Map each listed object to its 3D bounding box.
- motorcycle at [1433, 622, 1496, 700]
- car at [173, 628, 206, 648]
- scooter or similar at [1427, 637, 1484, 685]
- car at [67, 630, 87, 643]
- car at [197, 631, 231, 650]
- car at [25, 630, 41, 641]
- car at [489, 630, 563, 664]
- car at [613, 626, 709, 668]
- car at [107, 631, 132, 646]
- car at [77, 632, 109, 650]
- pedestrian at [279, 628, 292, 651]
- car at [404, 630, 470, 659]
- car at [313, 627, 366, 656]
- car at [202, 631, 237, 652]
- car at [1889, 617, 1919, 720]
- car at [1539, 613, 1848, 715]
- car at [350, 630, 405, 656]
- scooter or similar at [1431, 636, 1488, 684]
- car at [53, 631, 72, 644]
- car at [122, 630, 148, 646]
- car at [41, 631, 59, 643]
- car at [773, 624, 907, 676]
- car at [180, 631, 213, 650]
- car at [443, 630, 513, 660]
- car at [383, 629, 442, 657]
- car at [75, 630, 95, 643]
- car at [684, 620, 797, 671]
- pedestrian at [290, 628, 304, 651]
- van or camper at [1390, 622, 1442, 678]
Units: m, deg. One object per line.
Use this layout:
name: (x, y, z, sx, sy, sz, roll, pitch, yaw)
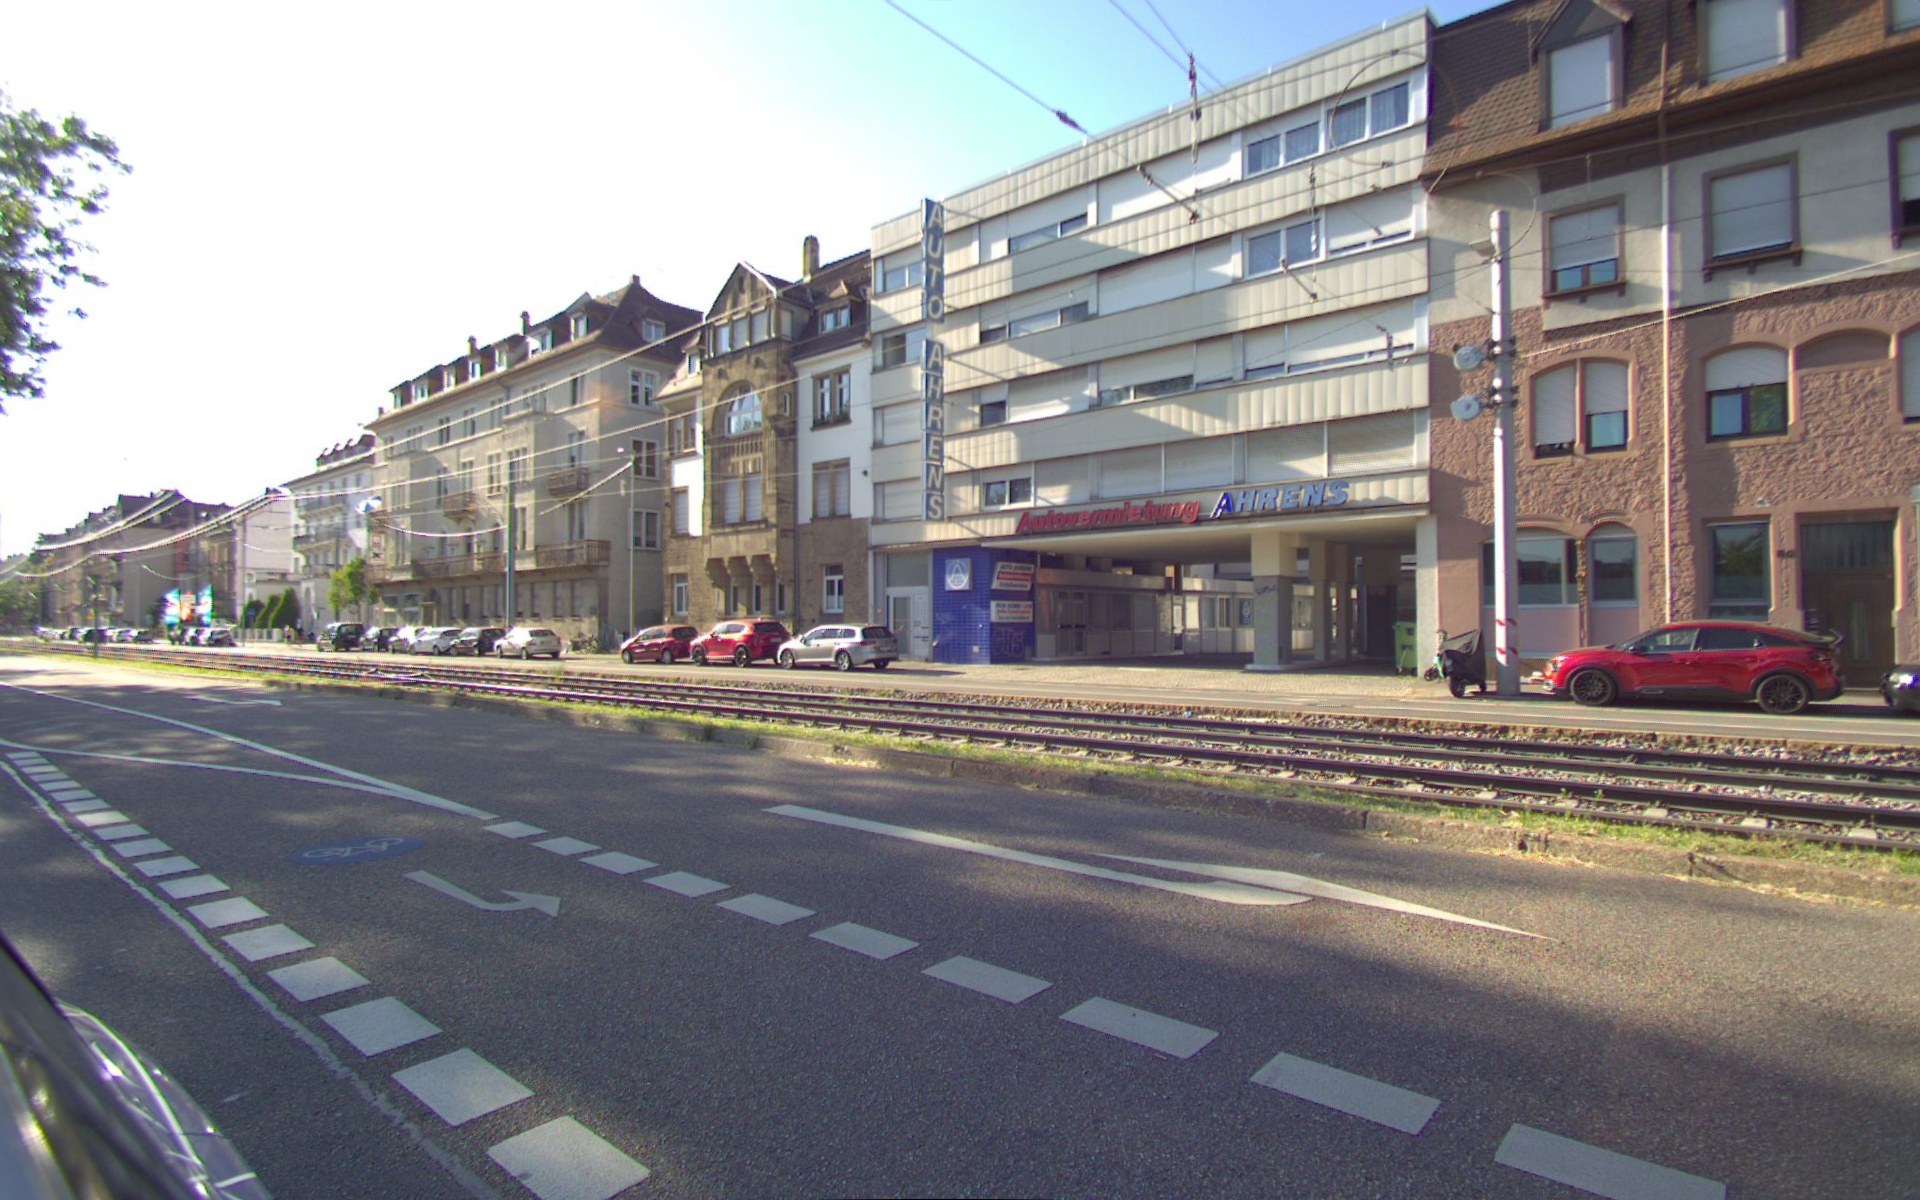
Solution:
motorcycle: (10.154, 1.192, 20.335, 0.628, 1.433, 1.835, -3, -1, 41)
car: (-71.178, 3.497, 93.430, 3.879, 1.800, 1.705, -2, -1, 42)
scooter or similar: (11.266, 1.380, 23.018, 1.121, 1.077, 0.202, -2, -1, 42)
car: (-119.124, 4.912, 136.530, 3.449, 1.602, 1.603, -2, -1, 42)
car: (-63.591, 3.451, 86.260, 3.387, 1.583, 1.662, -2, -1, 42)
car: (-152.844, 5.847, 166.793, 3.449, 1.602, 1.603, -2, -1, 42)
car: (-20.577, 2.189, 47.888, 3.822, 1.490, 1.778, -2, -1, 42)
car: (-11.827, 1.844, 39.986, 3.722, 1.507, 1.736, -2, 0, 36)
car: (-93.630, 4.297, 112.706, 3.449, 1.602, 1.603, -2, -1, 42)
car: (-83.607, 3.924, 97.594, 3.999, 1.697, 1.798, -2, -2, 42)
pedestrian: (-53.669, 3.165, 80.540, 0.677, 1.803, 0.716, -2, -3, 41)
car: (-27.883, 2.367, 53.946, 3.531, 1.457, 1.624, -2, -1, 35)
car: (-39.873, 2.623, 64.983, 3.914, 1.750, 1.851, -2, -1, 42)
car: (-60.203, 3.340, 82.298, 3.407, 1.644, 1.655, -2, -1, 42)
car: (16.081, 0.986, 14.525, 3.925, 1.448, 1.678, -2, 1, 41)
car: (12.809, 1.065, 17.846, 4.208, 1.510, 1.837, -2, 1, 41)
car: (-35.492, 2.594, 61.610, 3.822, 1.490, 1.778, -2, -1, 42)
scooter or similar: (11.456, 1.366, 23.220, 1.121, 1.077, 0.202, -2, -1, 42)
car: (-125.201, 5.222, 141.204, 3.449, 1.602, 1.603, -2, -1, 42)
car: (-86.864, 4.004, 106.538, 3.449, 1.602, 1.603, -2, -1, 42)
car: (-133.191, 5.390, 148.092, 3.449, 1.602, 1.603, -2, -1, 42)
car: (-3.948, 1.587, 32.951, 4.379, 1.510, 1.837, -2, -1, 41)
car: (-67.644, 3.595, 89.669, 3.387, 1.583, 1.662, -2, -1, 42)
car: (-24.535, 2.268, 51.481, 3.820, 1.441, 1.779, -2, -1, 40)
car: (-31.206, 2.426, 57.647, 3.822, 1.490, 1.778, -2, -1, 42)
car: (-115.084, 4.793, 133.113, 3.449, 1.602, 1.603, -2, -1, 42)
car: (-7.967, 1.613, 36.488, 4.262, 1.700, 1.836, -2, -1, 43)
pedestrian: (-53.039, 3.176, 80.953, 0.677, 1.803, 0.716, -2, -3, 41)
van or camper: (11.524, 1.237, 25.556, 0.803, 1.368, 1.409, -2, -3, 41)
